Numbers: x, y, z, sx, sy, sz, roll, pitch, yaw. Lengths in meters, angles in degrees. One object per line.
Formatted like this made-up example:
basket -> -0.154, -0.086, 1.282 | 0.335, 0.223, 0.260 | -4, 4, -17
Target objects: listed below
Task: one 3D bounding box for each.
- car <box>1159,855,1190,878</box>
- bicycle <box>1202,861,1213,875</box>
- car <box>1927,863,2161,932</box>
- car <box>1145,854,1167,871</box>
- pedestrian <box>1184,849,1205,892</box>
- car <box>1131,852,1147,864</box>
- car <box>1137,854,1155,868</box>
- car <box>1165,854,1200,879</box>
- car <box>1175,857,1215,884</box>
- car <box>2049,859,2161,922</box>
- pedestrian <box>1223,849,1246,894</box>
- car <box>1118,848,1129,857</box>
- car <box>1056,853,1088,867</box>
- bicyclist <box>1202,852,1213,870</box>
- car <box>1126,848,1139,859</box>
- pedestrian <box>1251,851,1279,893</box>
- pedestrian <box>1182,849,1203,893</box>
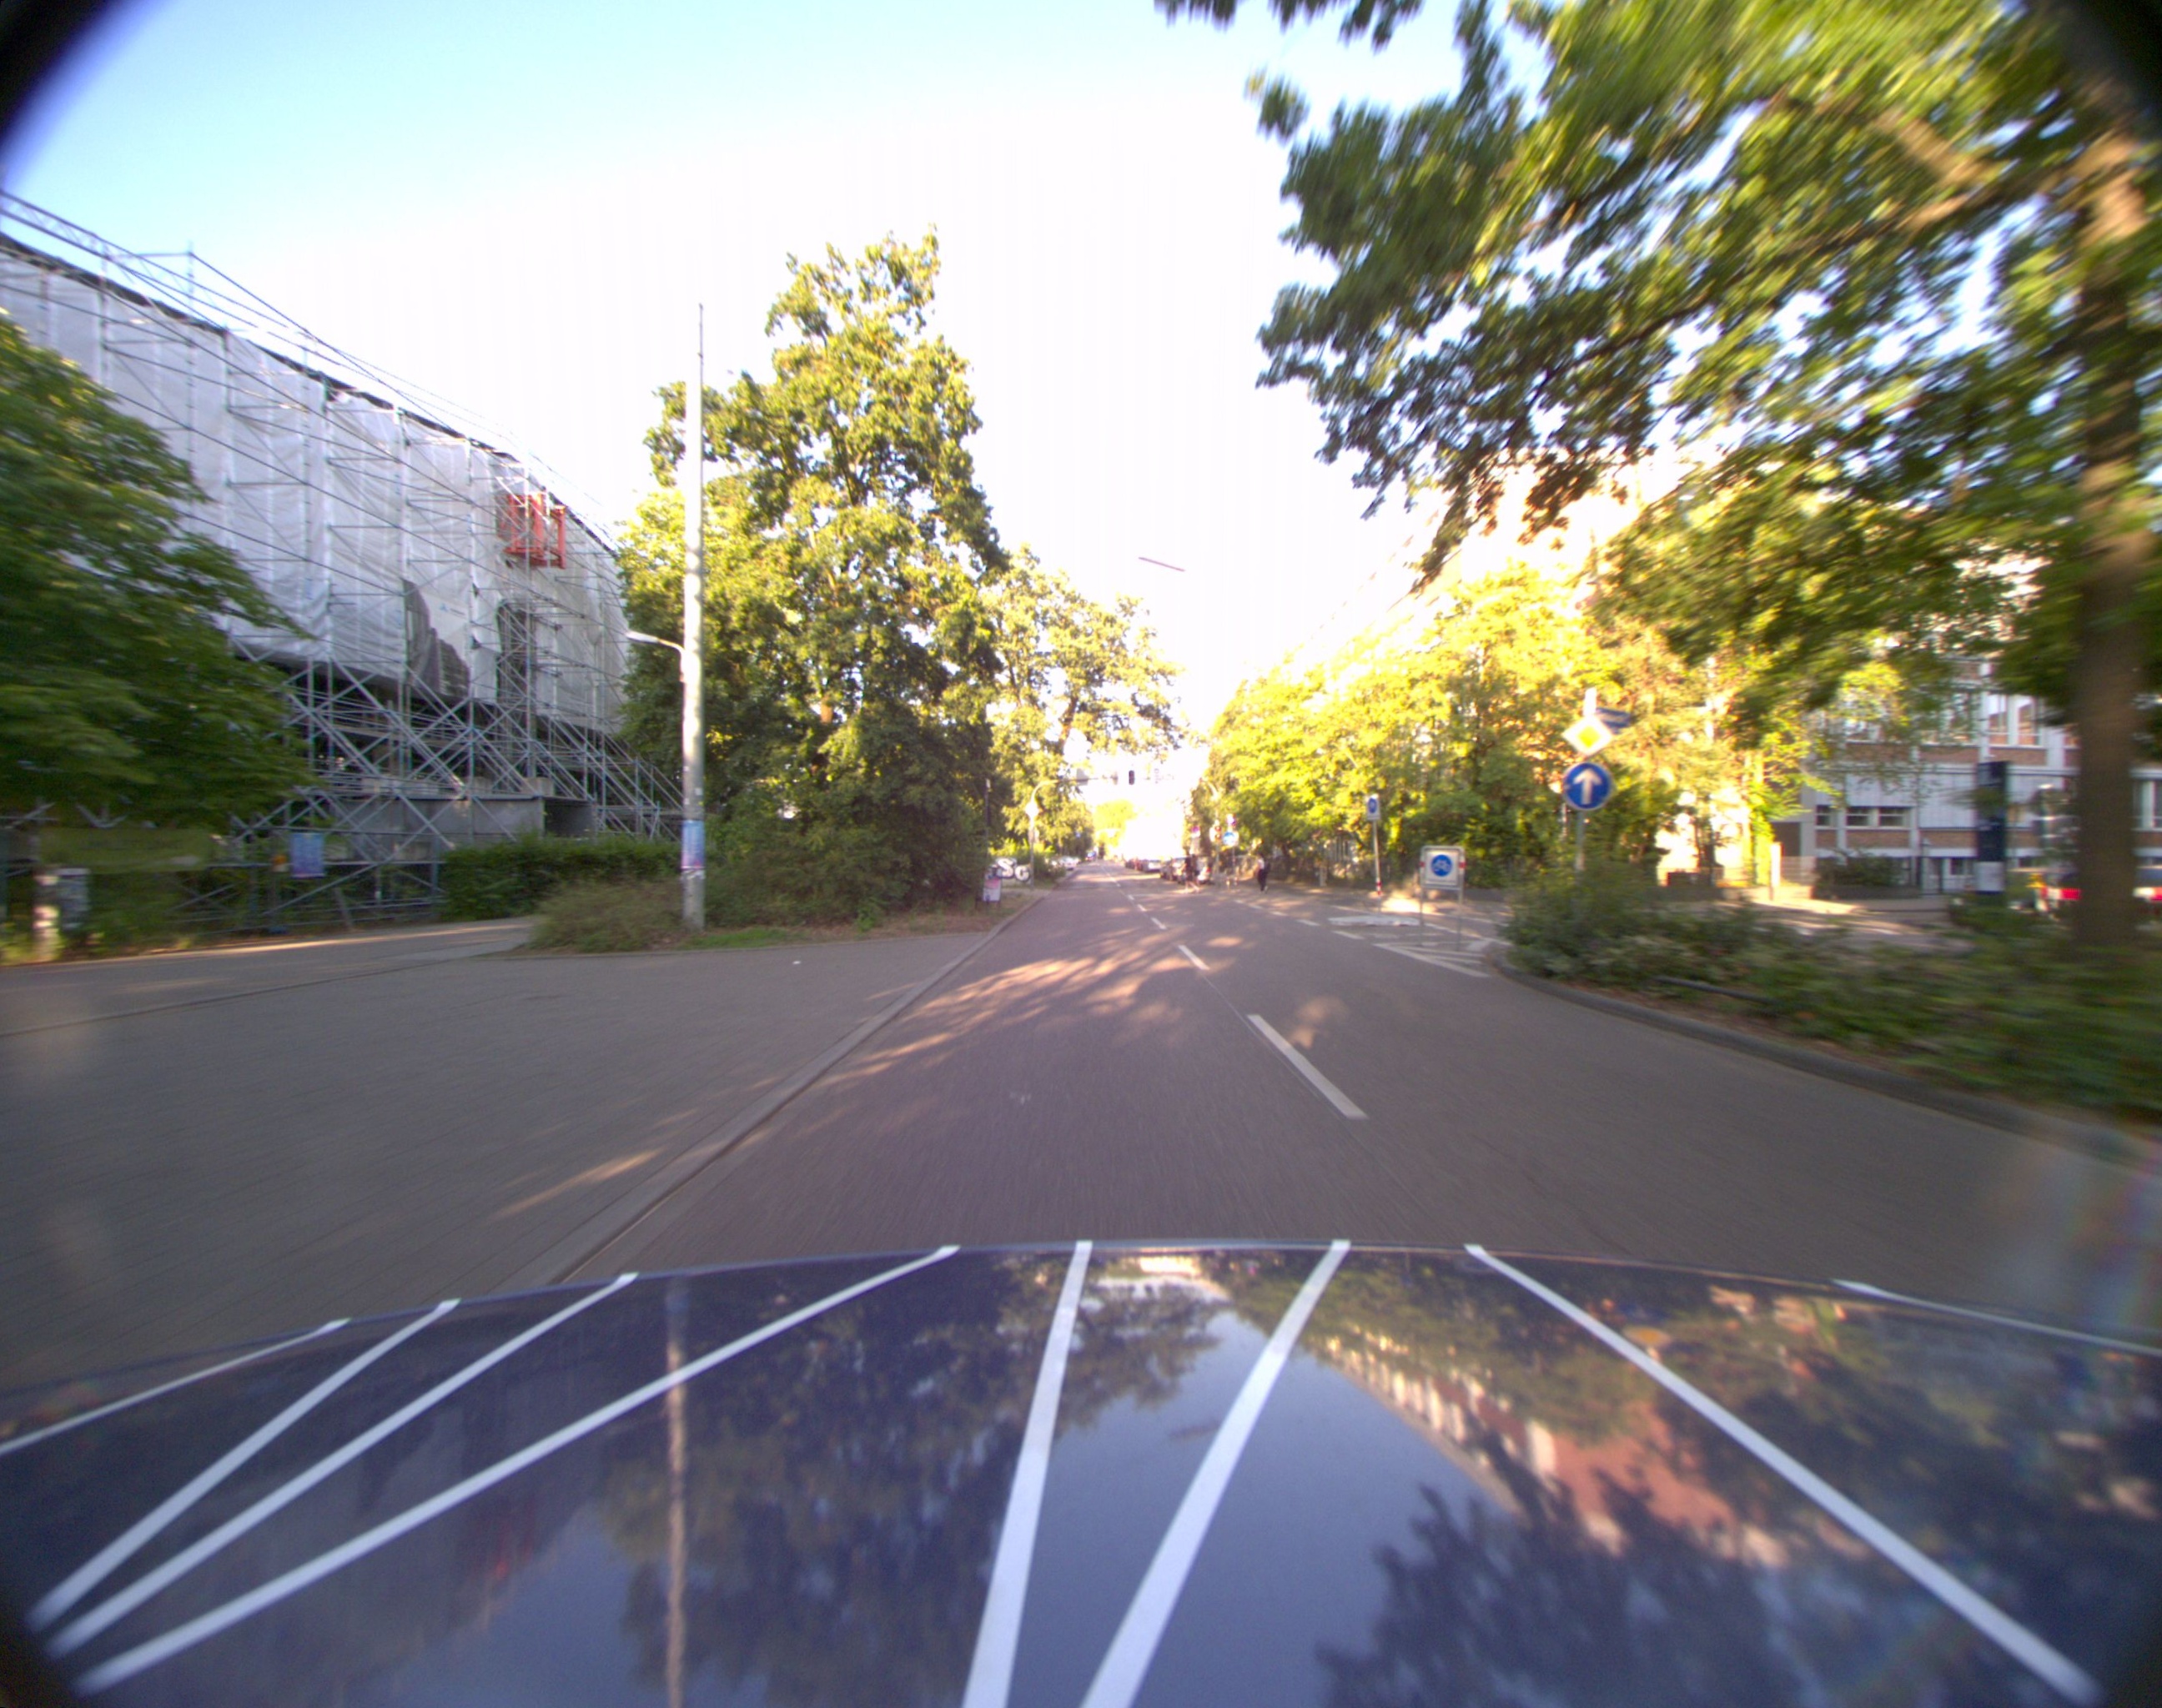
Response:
car -> 6.851, 0.864, 55.833 | 1.776, 1.559, 4.109 | -2, 0, 1
bicycle -> 9.835, 1.093, 58.933 | 0.625, 1.008, 2.147 | 0, 0, 4
car -> 22.960, 0.986, 18.170 | 3.963, 1.441, 1.775 | 0, 2, -10
car -> 7.289, 0.803, 73.999 | 1.776, 1.559, 4.109 | -2, 0, 1
pedestrian -> 4.961, 0.722, 33.352 | 0.784, 1.825, 0.672 | -2, 0, 4
car -> 7.580, 0.493, 98.885 | 1.776, 1.559, 4.109 | -2, 0, 1
car -> 7.594, 0.797, 89.134 | 1.776, 1.559, 4.109 | -2, 0, 1
car -> 6.683, 0.777, 50.343 | 1.776, 1.559, 4.109 | -2, 0, 1
car -> 6.573, 0.933, 44.215 | 1.776, 1.474, 4.109 | -2, 0, 1
car -> 26.828, 0.856, 18.942 | 3.645, 1.399, 1.775 | 0, 2, -10
pedestrian -> 6.343, 0.731, 31.498 | 0.784, 1.825, 0.672 | -2, 0, 4
car -> 7.582, -0.252, 135.859 | 1.776, 1.559, 4.109 | -2, 0, 1
car -> -1.173, 0.720, 95.595 | 2.003, 1.630, 3.990 | -3, 1, -36
bicyclist -> 9.789, 0.535, 59.013 | 0.752, 1.446, 1.060 | 0, 0, 4
car -> 7.722, -0.113, 114.038 | 1.776, 1.559, 4.109 | -2, 0, 1
pedestrian -> 7.545, 0.743, 31.157 | 0.673, 1.665, 0.783 | -3, 0, -28
pedestrian -> 4.708, 0.711, 32.082 | 0.784, 1.825, 0.672 | -2, 0, 4
